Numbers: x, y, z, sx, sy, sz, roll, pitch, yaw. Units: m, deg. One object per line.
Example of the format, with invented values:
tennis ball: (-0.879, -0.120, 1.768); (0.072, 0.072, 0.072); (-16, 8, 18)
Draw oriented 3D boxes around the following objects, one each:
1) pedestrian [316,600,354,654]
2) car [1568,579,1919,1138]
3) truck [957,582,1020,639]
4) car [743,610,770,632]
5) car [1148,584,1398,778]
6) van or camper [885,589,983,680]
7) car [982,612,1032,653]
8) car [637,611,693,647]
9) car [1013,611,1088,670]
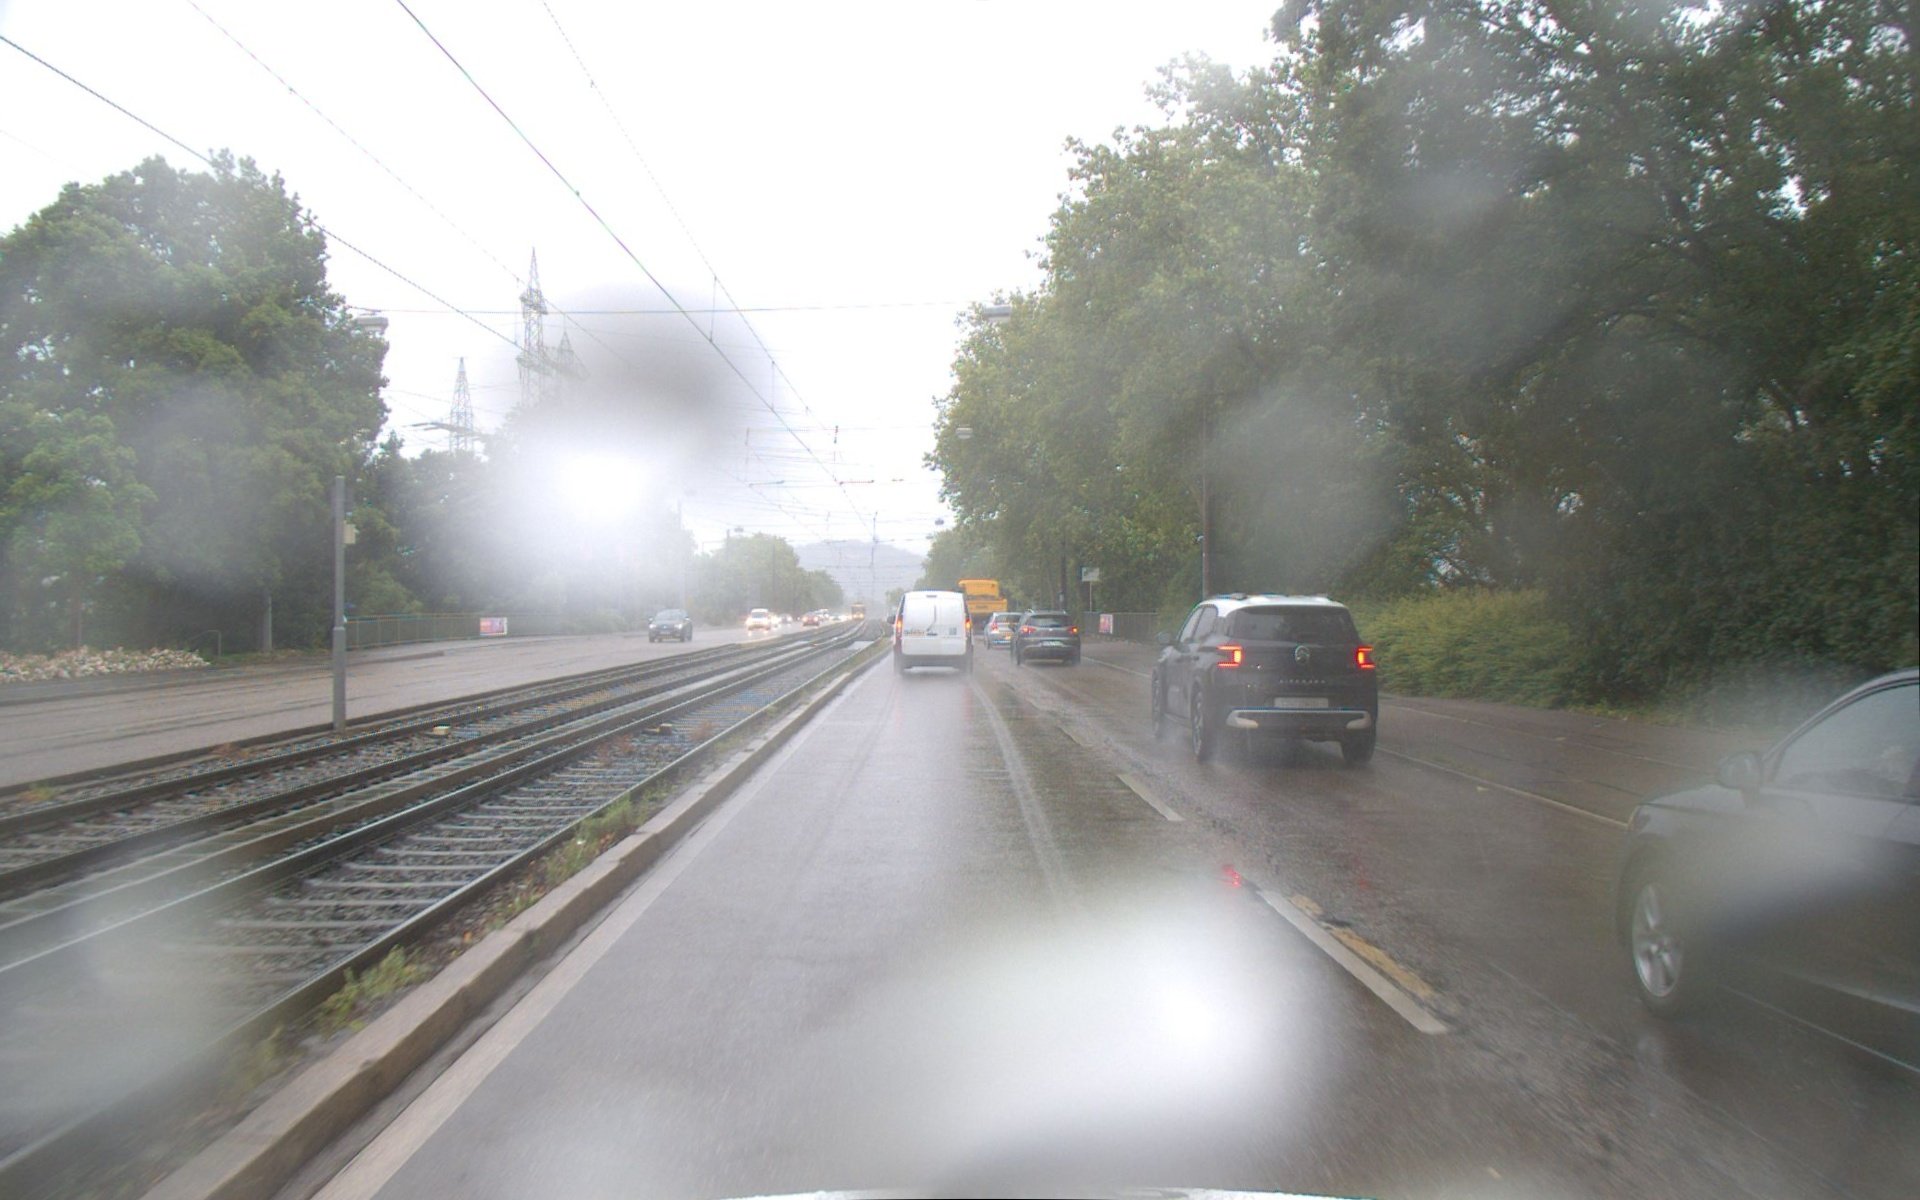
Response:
pedestrian: (-21.217, 0.921, 56.153); (0.834, 1.790, 1.120); (-1, 0, -1)
car: (3.632, 0.731, 5.030); (1.928, 1.555, 3.989); (1, 1, -3)
truck: (1.428, 0.520, 86.407); (3.050, 2.822, 6.327); (0, 0, -2)
car: (-17.558, 1.821, 142.882); (1.953, 1.847, 4.657); (0, 0, -2)
car: (3.164, 0.726, 17.663); (1.860, 1.747, 4.727); (1, 1, 1)
van or camper: (-0.634, 0.705, 36.773); (1.954, 1.815, 3.997); (1, 1, -4)
car: (1.806, 1.238, 64.360); (1.781, 1.438, 3.778); (1, 1, -1)
car: (-14.370, 1.375, 80.754); (1.952, 1.646, 4.253); (-1, 0, 0)
car: (2.419, 1.061, 44.888); (1.781, 1.438, 3.778); (1, 1, -1)
